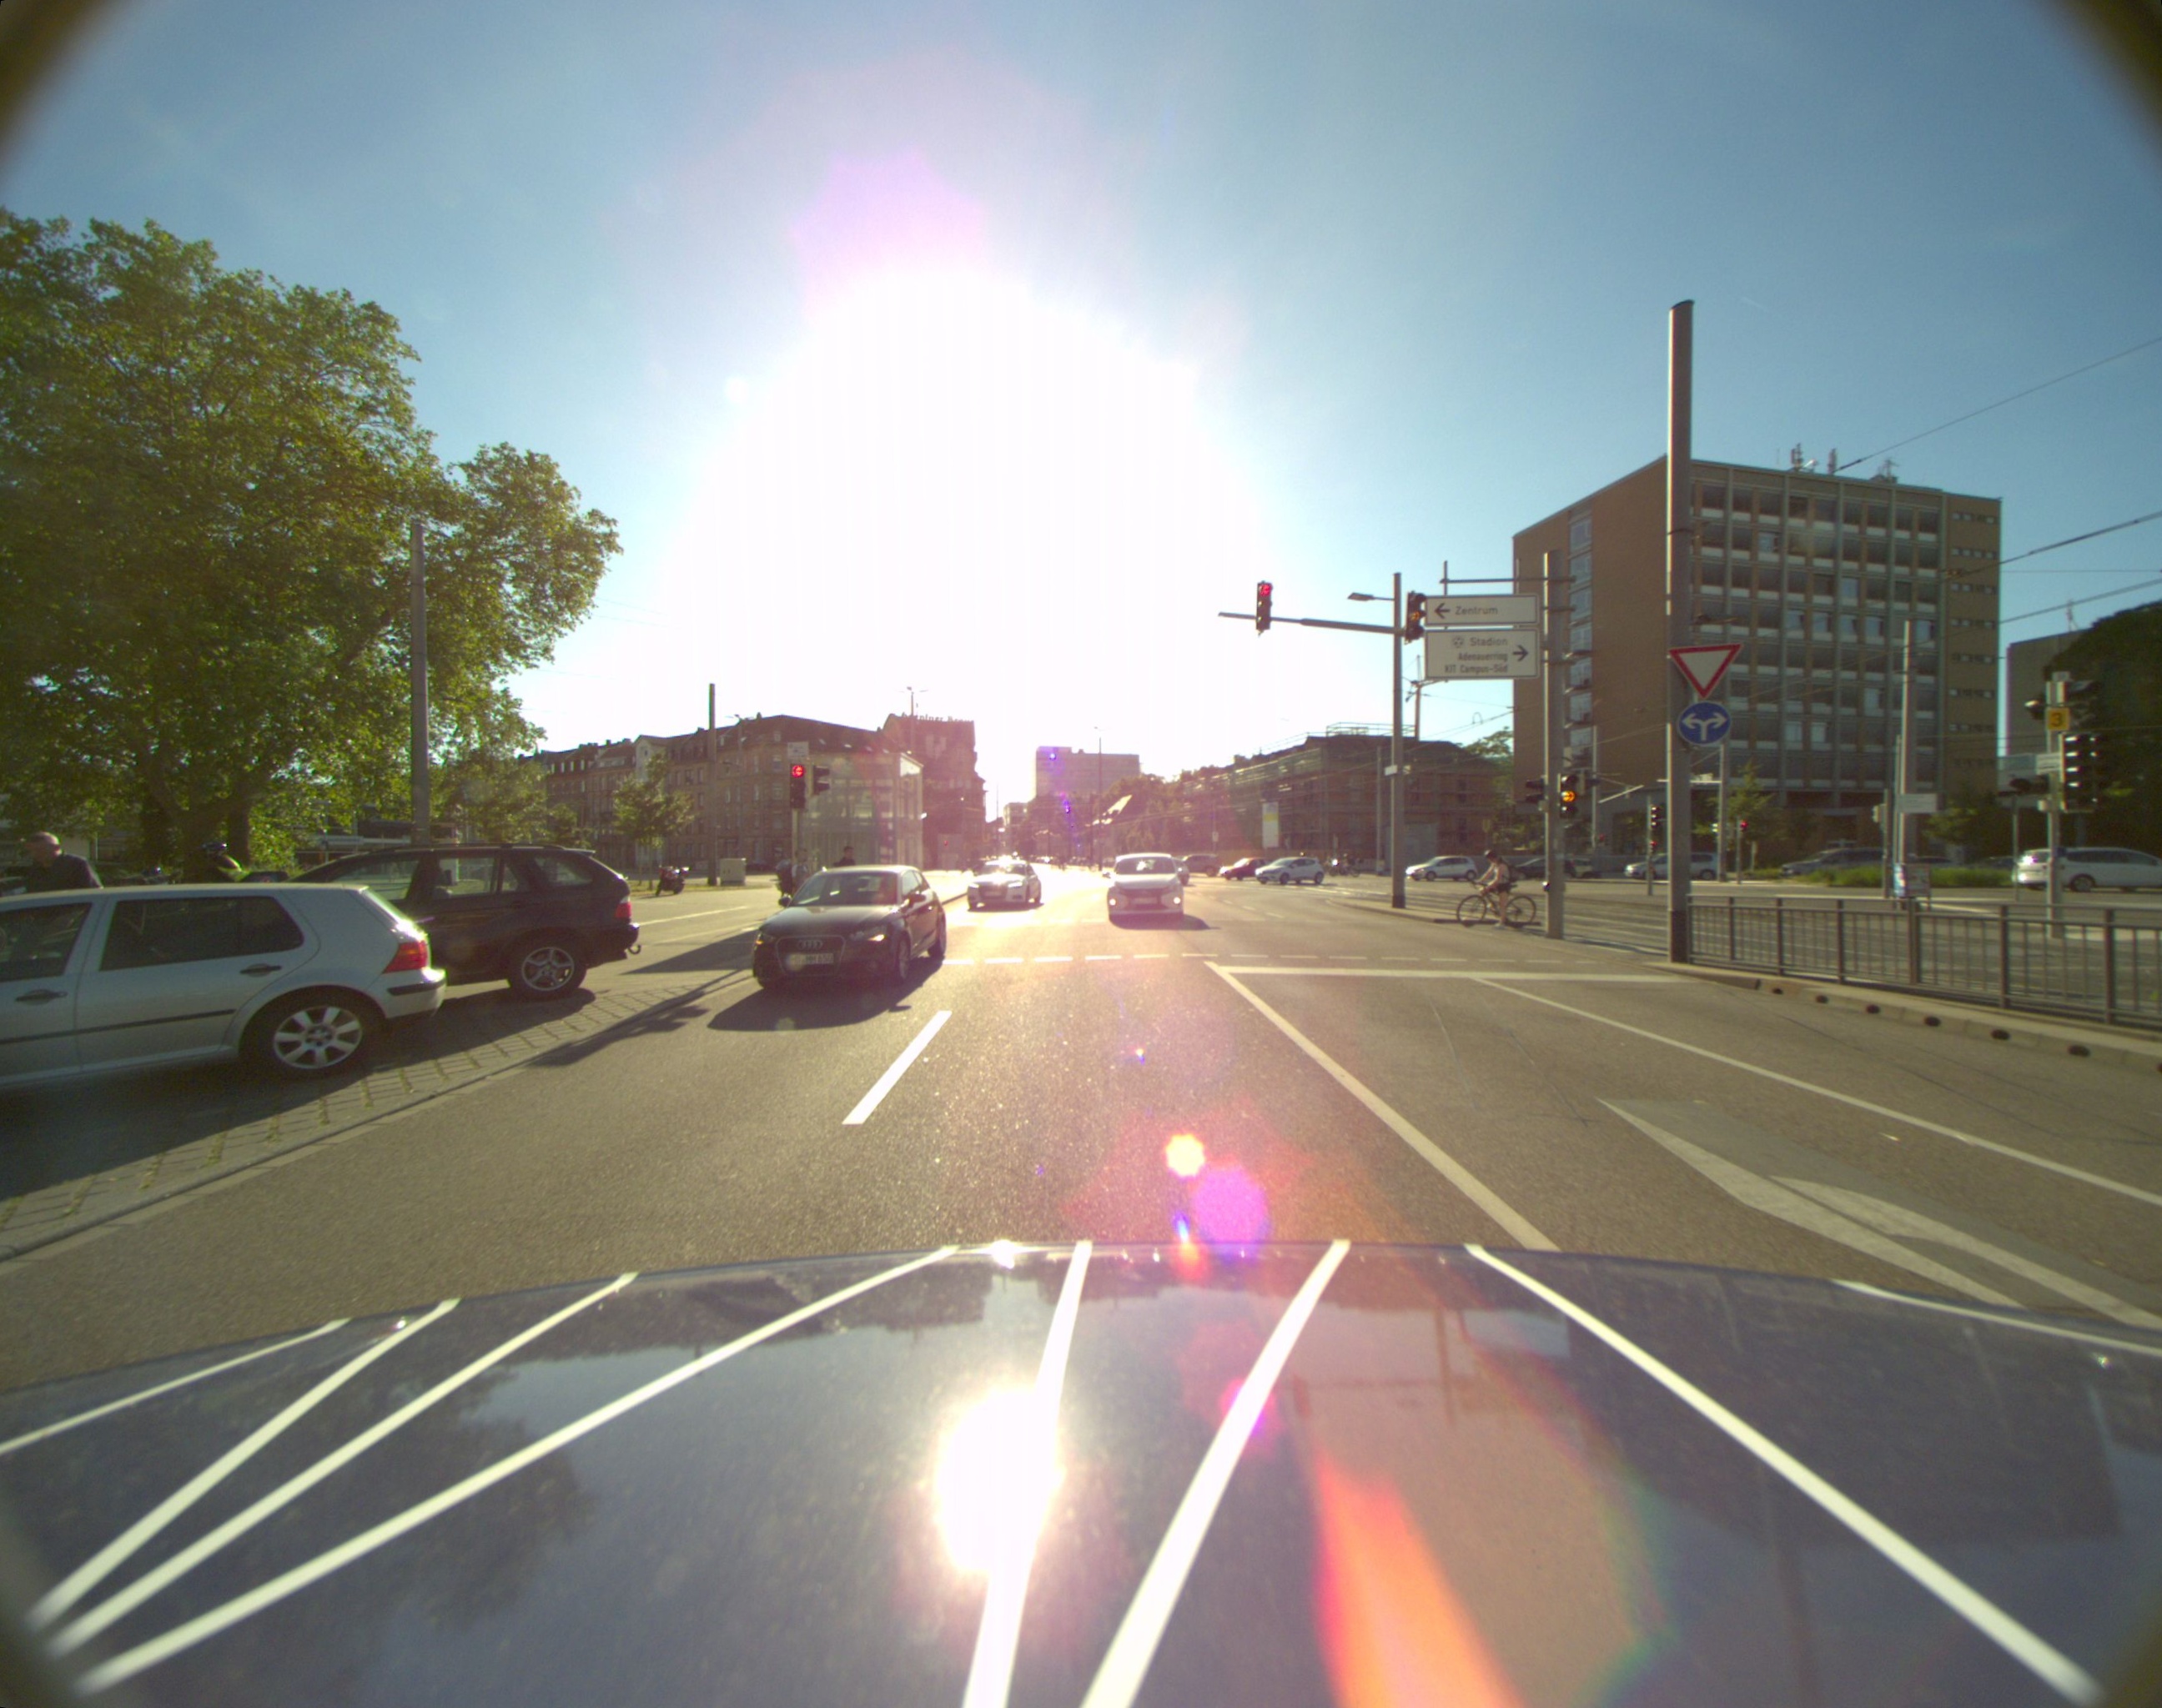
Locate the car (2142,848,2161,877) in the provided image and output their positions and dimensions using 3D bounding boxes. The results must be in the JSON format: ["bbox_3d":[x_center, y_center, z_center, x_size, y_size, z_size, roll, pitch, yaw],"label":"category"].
[{"bbox_3d":[64.594,0.490,43.216,4.698,1.673,2.003,0,-2,15],"label":"car"}]

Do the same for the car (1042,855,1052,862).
[{"bbox_3d":[-7.808,1.030,174.813,1.757,1.455,4.015,-1,-1,-12],"label":"car"}]

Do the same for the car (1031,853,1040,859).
[{"bbox_3d":[-11.877,0.482,196.639,1.757,1.455,4.015,-1,-1,-12],"label":"car"}]

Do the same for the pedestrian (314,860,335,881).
[{"bbox_3d":[-54.817,1.190,55.046,0.830,1.506,0.724,0,1,9],"label":"pedestrian"}]

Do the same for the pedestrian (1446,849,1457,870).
[{"bbox_3d":[30.245,0.432,61.984,0.620,1.730,0.667,2,3,42],"label":"pedestrian"}]

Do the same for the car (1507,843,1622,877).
[{"bbox_3d":[29.862,0.414,47.187,5.752,2.001,2.004,0,-2,21],"label":"car"}]

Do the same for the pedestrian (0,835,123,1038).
[{"bbox_3d":[-9.947,0.750,7.321,0.755,1.855,0.696,-1,1,-42],"label":"pedestrian"}]

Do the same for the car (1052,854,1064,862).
[{"bbox_3d":[-4.982,0.878,164.428,1.757,1.455,4.015,-1,-1,-12],"label":"car"}]

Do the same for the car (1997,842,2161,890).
[{"bbox_3d":[39.652,0.468,29.819,4.456,1.723,1.943,1,0,12],"label":"car"}]

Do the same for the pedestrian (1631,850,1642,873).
[{"bbox_3d":[40.783,0.548,55.823,0.503,1.625,0.428,0,-2,8],"label":"pedestrian"}]

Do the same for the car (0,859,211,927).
[{"bbox_3d":[-27.341,1.038,21.142,3.997,1.689,1.921,1,3,0],"label":"car"}]

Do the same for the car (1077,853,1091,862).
[{"bbox_3d":[0.477,0.649,139.772,1.757,1.455,4.015,-1,-1,-12],"label":"car"}]

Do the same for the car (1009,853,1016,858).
[{"bbox_3d":[-22.168,0.461,244.581,1.757,1.455,4.015,-1,-1,-12],"label":"car"}]

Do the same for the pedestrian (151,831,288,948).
[{"bbox_3d":[-15.521,0.631,13.730,1.032,2.001,1.272,0,-2,17],"label":"pedestrian"}]

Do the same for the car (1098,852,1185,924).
[{"bbox_3d":[1.510,0.747,17.669,1.719,1.483,3.874,-1,-1,9],"label":"car"}]

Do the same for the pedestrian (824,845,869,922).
[{"bbox_3d":[-5.414,0.646,17.512,0.796,1.718,0.868,-1,1,-31],"label":"pedestrian"}]

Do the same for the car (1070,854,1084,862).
[{"bbox_3d":[-0.820,0.824,144.827,1.757,1.455,4.015,-1,-1,-12],"label":"car"}]

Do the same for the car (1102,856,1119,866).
[{"bbox_3d":[4.648,1.128,121.209,1.757,1.455,4.015,-1,-1,-12],"label":"car"}]

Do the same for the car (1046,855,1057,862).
[{"bbox_3d":[-6.676,1.066,169.825,1.757,1.455,4.015,-1,-1,-12],"label":"car"}]

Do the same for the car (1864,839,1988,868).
[{"bbox_3d":[51.522,-0.028,46.437,4.698,1.673,2.003,0,-2,15],"label":"car"}]

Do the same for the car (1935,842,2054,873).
[{"bbox_3d":[51.892,0.199,43.251,3.992,1.718,1.825,0,0,14],"label":"car"}]

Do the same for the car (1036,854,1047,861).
[{"bbox_3d":[-9.517,0.793,182.658,1.757,1.455,4.015,-1,-1,-12],"label":"car"}]

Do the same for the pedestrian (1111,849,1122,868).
[{"bbox_3d":[3.604,0.469,77.066,0.693,1.837,0.817,2,-2,-44],"label":"pedestrian"}]

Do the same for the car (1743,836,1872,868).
[{"bbox_3d":[38.992,-0.111,40.911,4.608,1.679,2.002,0,1,16],"label":"car"}]

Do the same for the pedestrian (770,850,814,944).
[{"bbox_3d":[-5.442,0.790,14.356,0.698,1.718,0.752,-1,1,-16],"label":"pedestrian"}]

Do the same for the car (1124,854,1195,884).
[{"bbox_3d":[4.284,0.777,40.962,1.779,1.455,3.923,1,2,43],"label":"car"}]

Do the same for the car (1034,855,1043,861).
[{"bbox_3d":[-10.522,0.966,187.462,1.757,1.455,4.015,-1,-1,-12],"label":"car"}]

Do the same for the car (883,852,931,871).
[{"bbox_3d":[-16.467,0.692,71.909,4.009,1.457,1.757,2,7,23],"label":"car"}]

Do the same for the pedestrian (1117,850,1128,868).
[{"bbox_3d":[4.264,0.548,77.807,0.693,1.837,0.817,2,-2,-44],"label":"pedestrian"}]

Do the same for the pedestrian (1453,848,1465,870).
[{"bbox_3d":[30.995,0.398,62.281,0.732,1.730,0.622,0,2,11],"label":"pedestrian"}]

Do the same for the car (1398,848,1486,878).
[{"bbox_3d":[21.276,0.493,44.912,4.281,1.666,1.999,-1,1,-3],"label":"car"}]

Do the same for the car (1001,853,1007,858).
[{"bbox_3d":[-26.413,0.622,260.470,1.757,1.455,4.015,-1,-1,-12],"label":"car"}]

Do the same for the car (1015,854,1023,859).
[{"bbox_3d":[-18.267,0.840,224.404,1.757,1.455,4.015,-1,-1,-12],"label":"car"}]

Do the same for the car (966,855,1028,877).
[{"bbox_3d":[-7.000,0.999,63.319,4.644,1.485,1.818,-2,6,20],"label":"car"}]

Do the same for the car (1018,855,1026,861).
[{"bbox_3d":[-16.847,1.170,216.828,1.757,1.596,4.015,-1,-1,-12],"label":"car"}]
